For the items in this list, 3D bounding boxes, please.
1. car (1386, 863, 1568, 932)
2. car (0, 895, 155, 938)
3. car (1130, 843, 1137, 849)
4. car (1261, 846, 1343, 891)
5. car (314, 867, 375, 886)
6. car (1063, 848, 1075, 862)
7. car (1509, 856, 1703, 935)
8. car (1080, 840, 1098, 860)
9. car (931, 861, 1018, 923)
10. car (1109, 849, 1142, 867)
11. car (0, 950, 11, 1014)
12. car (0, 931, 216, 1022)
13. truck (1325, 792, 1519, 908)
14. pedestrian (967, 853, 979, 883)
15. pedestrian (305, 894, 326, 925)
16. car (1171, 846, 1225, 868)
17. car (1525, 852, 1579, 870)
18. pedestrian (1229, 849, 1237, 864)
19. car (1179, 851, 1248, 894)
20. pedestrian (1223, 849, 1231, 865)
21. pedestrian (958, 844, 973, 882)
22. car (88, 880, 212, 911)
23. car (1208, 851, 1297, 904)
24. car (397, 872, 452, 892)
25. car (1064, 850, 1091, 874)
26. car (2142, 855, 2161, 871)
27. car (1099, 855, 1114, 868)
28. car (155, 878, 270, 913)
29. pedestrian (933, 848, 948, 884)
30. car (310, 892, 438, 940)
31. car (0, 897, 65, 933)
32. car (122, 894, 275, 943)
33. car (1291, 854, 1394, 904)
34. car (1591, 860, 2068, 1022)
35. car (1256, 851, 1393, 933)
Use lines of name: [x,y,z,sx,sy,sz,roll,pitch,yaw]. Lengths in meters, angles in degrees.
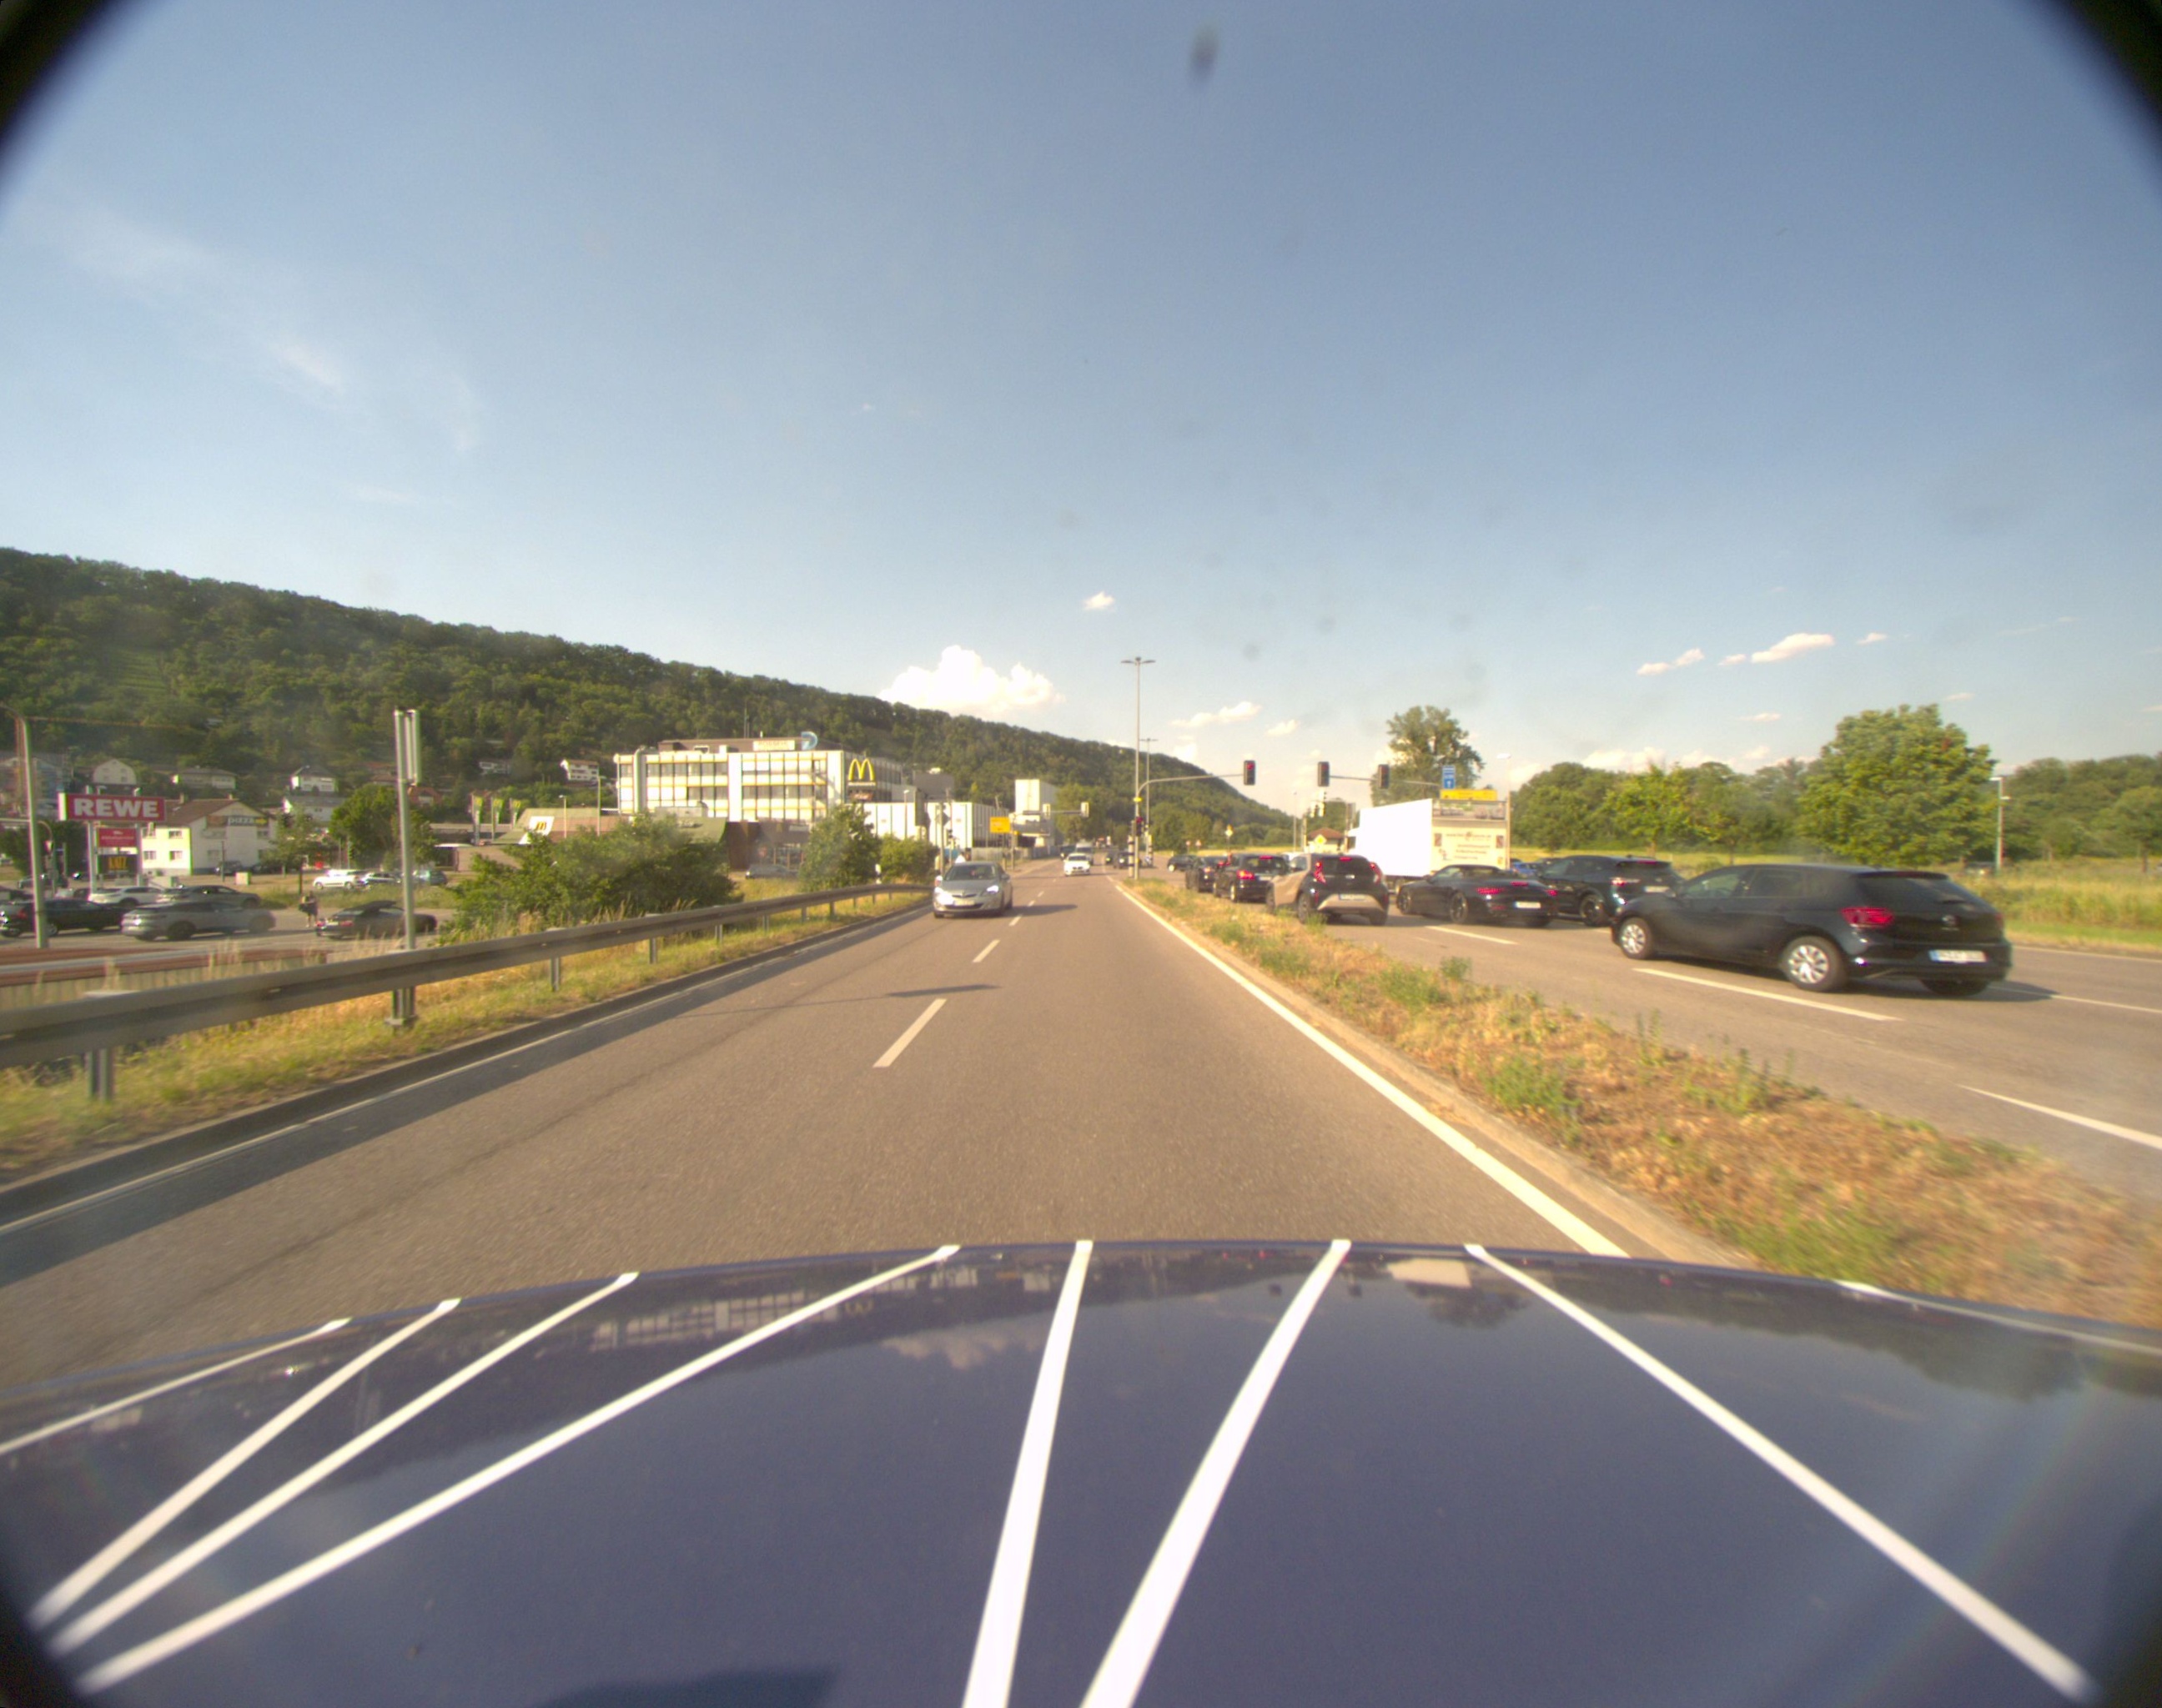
car: [8.949,0.909,17.731,1.706,1.276,4.818,1,0,0]
car: [-46.034,2.842,34.986,1.729,1.499,3.999,-2,1,1]
car: [14.151,-2.135,206.559,1.712,1.426,4.144,1,2,2]
car: [9.106,0.549,31.765,1.999,1.669,4.805,0,1,0]
car: [-62.742,1.945,64.723,3.649,1.412,1.690,-2,2,6]
car: [-1.934,0.133,118.637,1.795,2.155,4.588,0,1,-1]
car: [12.100,0.883,17.880,1.767,1.520,3.999,1,1,0]
car: [0.867,-0.437,85.686,1.795,2.155,4.588,0,1,-1]
car: [-2.780,0.948,20.688,1.690,1.383,3.883,-1,1,2]
car: [4.052,0.324,70.582,1.860,1.565,4.139,-3,1,-14]
car: [-25.904,3.040,15.977,1.532,1.476,3.585,-2,1,5]
car: [-23.446,2.822,18.007,1.532,1.476,3.585,-2,1,5]
truck: [12.661,-0.252,29.738,2.940,3.669,10.497,2,2,1]
pedestrian: [-5.759,0.732,40.522,0.573,1.606,0.622,1,2,-4]
pedestrian: [-38.005,2.746,37.723,0.379,1.451,0.568,-1,2,27]
car: [9.277,0.206,60.404,3.996,1.565,1.618,-2,2,3]
car: [42.795,0.624,69.055,3.879,1.412,1.767,-2,2,-6]
pedestrian: [16.258,0.261,81.166,0.655,1.597,0.891,-1,2,22]
car: [5.135,0.648,30.074,1.795,1.458,4.927,0,1,-1]
pedestrian: [15.830,0.311,82.110,0.655,1.597,0.838,-1,2,22]
pedestrian: [-5.665,0.430,37.222,0.620,1.872,0.861,0,2,-1]
car: [-58.082,2.541,47.561,1.997,1.516,4.440,-2,1,8]
car: [5.341,0.714,24.249,1.785,1.528,4.571,0,-1,0]
car: [-55.972,2.358,64.801,3.321,1.478,1.576,-2,2,3]
car: [-0.211,0.542,55.594,1.825,1.552,3.999,-2,1,2]
car: [92.876,0.752,64.354,3.748,1.360,1.767,0,1,-4]
car: [3.031,0.858,90.060,1.710,1.423,3.473,-2,1,2]
car: [-53.140,2.501,46.606,1.998,1.696,4.158,-2,1,5]
pedestrian: [-6.911,0.598,37.467,0.532,1.740,0.537,3,2,5]
car: [-30.713,2.652,33.191,1.837,1.693,4.127,0,1,-3]
car: [-51.168,2.950,35.725,1.768,1.494,3.672,-2,1,1]
car: [-38.212,2.747,33.079,1.836,1.693,4.128,0,1,0]
car: [8.674,0.762,25.694,1.706,1.397,5.080,0,1,0]
car: [8.724,0.869,9.531,1.706,1.465,4.244,1,1,-1]
car: [5.294,0.749,17.105,1.785,1.511,3.999,1,1,0]
